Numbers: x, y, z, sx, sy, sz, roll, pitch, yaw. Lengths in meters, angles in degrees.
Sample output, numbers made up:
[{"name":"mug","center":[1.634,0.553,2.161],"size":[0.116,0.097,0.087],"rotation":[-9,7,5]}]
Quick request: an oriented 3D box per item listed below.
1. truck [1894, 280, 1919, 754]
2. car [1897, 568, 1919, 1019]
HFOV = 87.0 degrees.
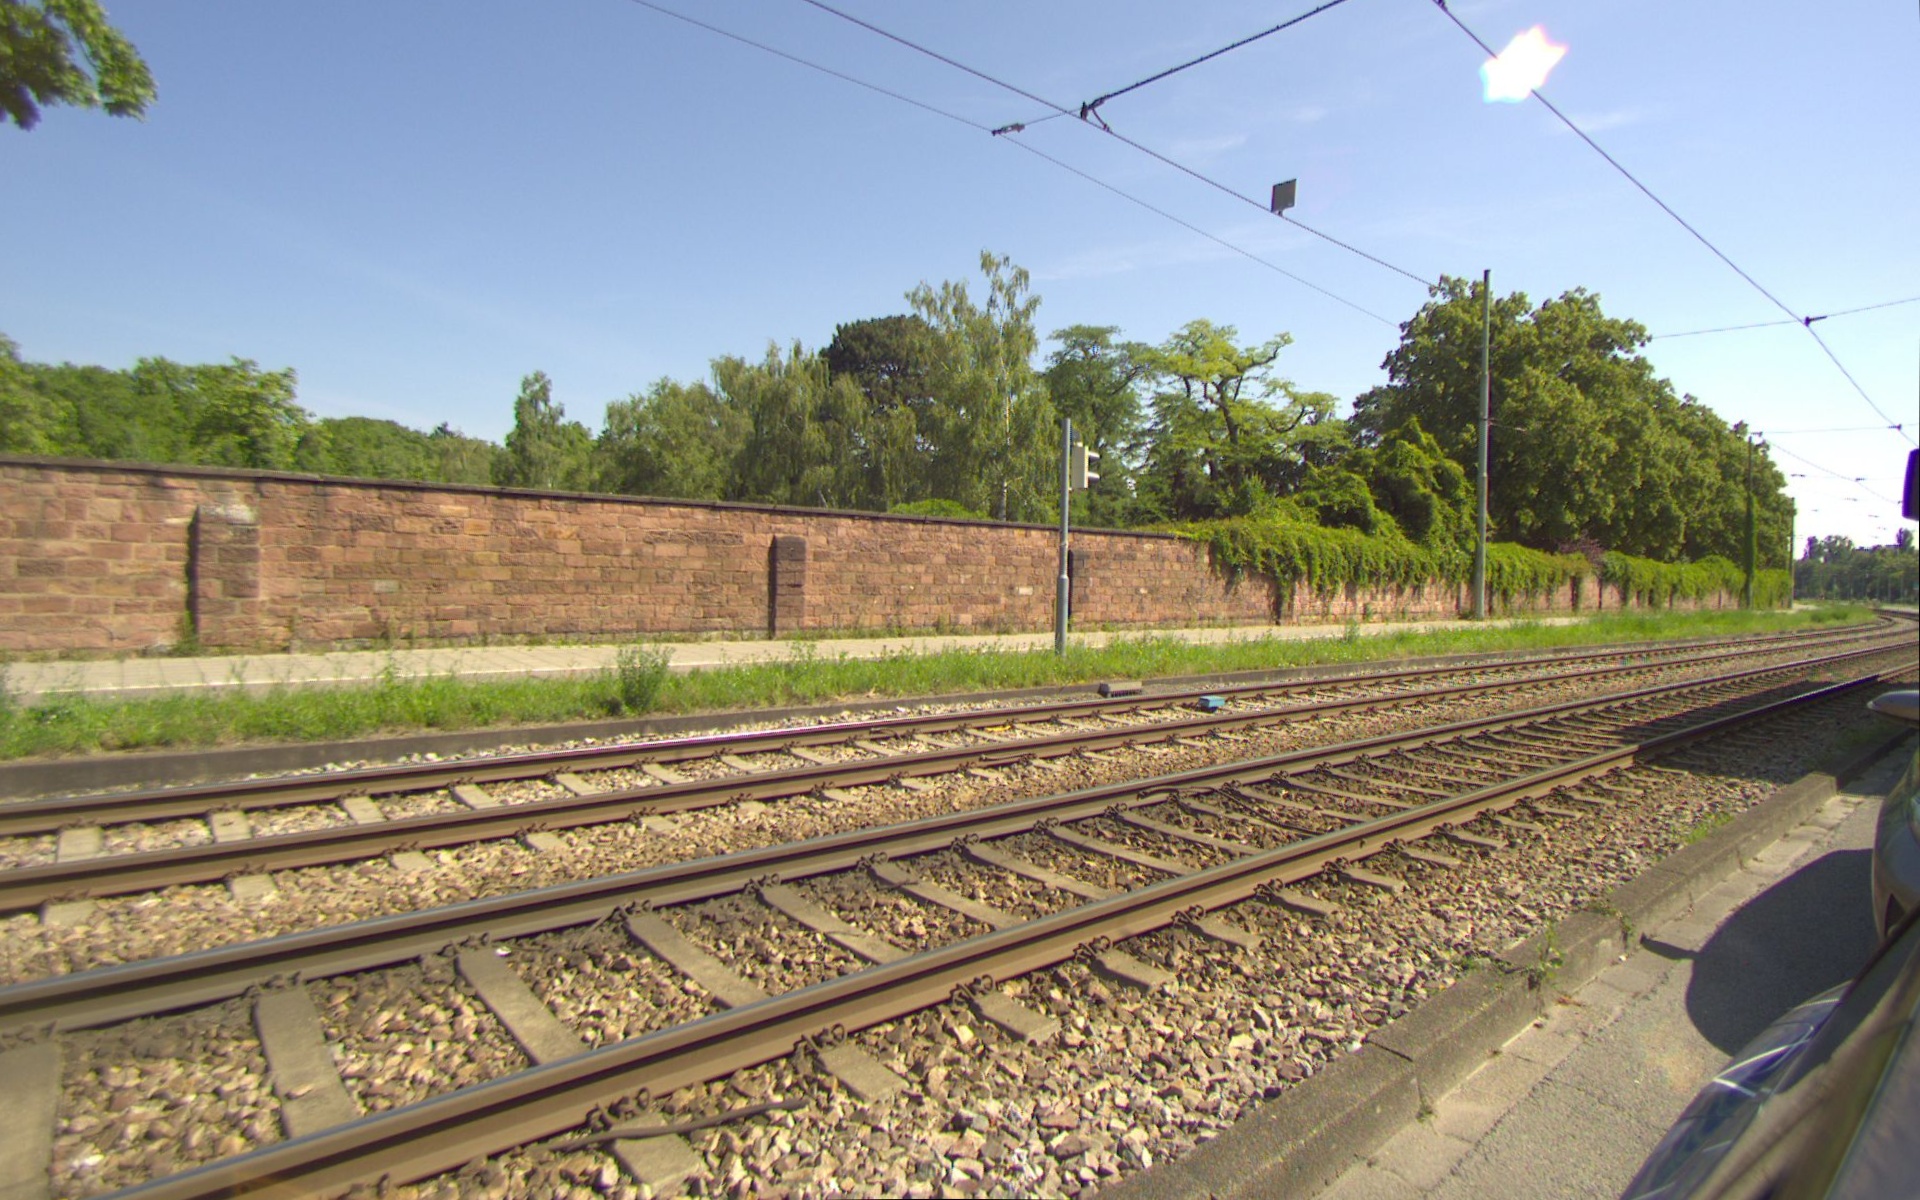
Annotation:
[{"name":"truck","center":[14.359,-0.643,12.136],"size":[14.652,3.927,2.934],"rotation":[0,2,-41]},{"name":"car","center":[5.055,0.650,3.965],"size":[3.930,1.448,1.573],"rotation":[0,2,-41]}]
